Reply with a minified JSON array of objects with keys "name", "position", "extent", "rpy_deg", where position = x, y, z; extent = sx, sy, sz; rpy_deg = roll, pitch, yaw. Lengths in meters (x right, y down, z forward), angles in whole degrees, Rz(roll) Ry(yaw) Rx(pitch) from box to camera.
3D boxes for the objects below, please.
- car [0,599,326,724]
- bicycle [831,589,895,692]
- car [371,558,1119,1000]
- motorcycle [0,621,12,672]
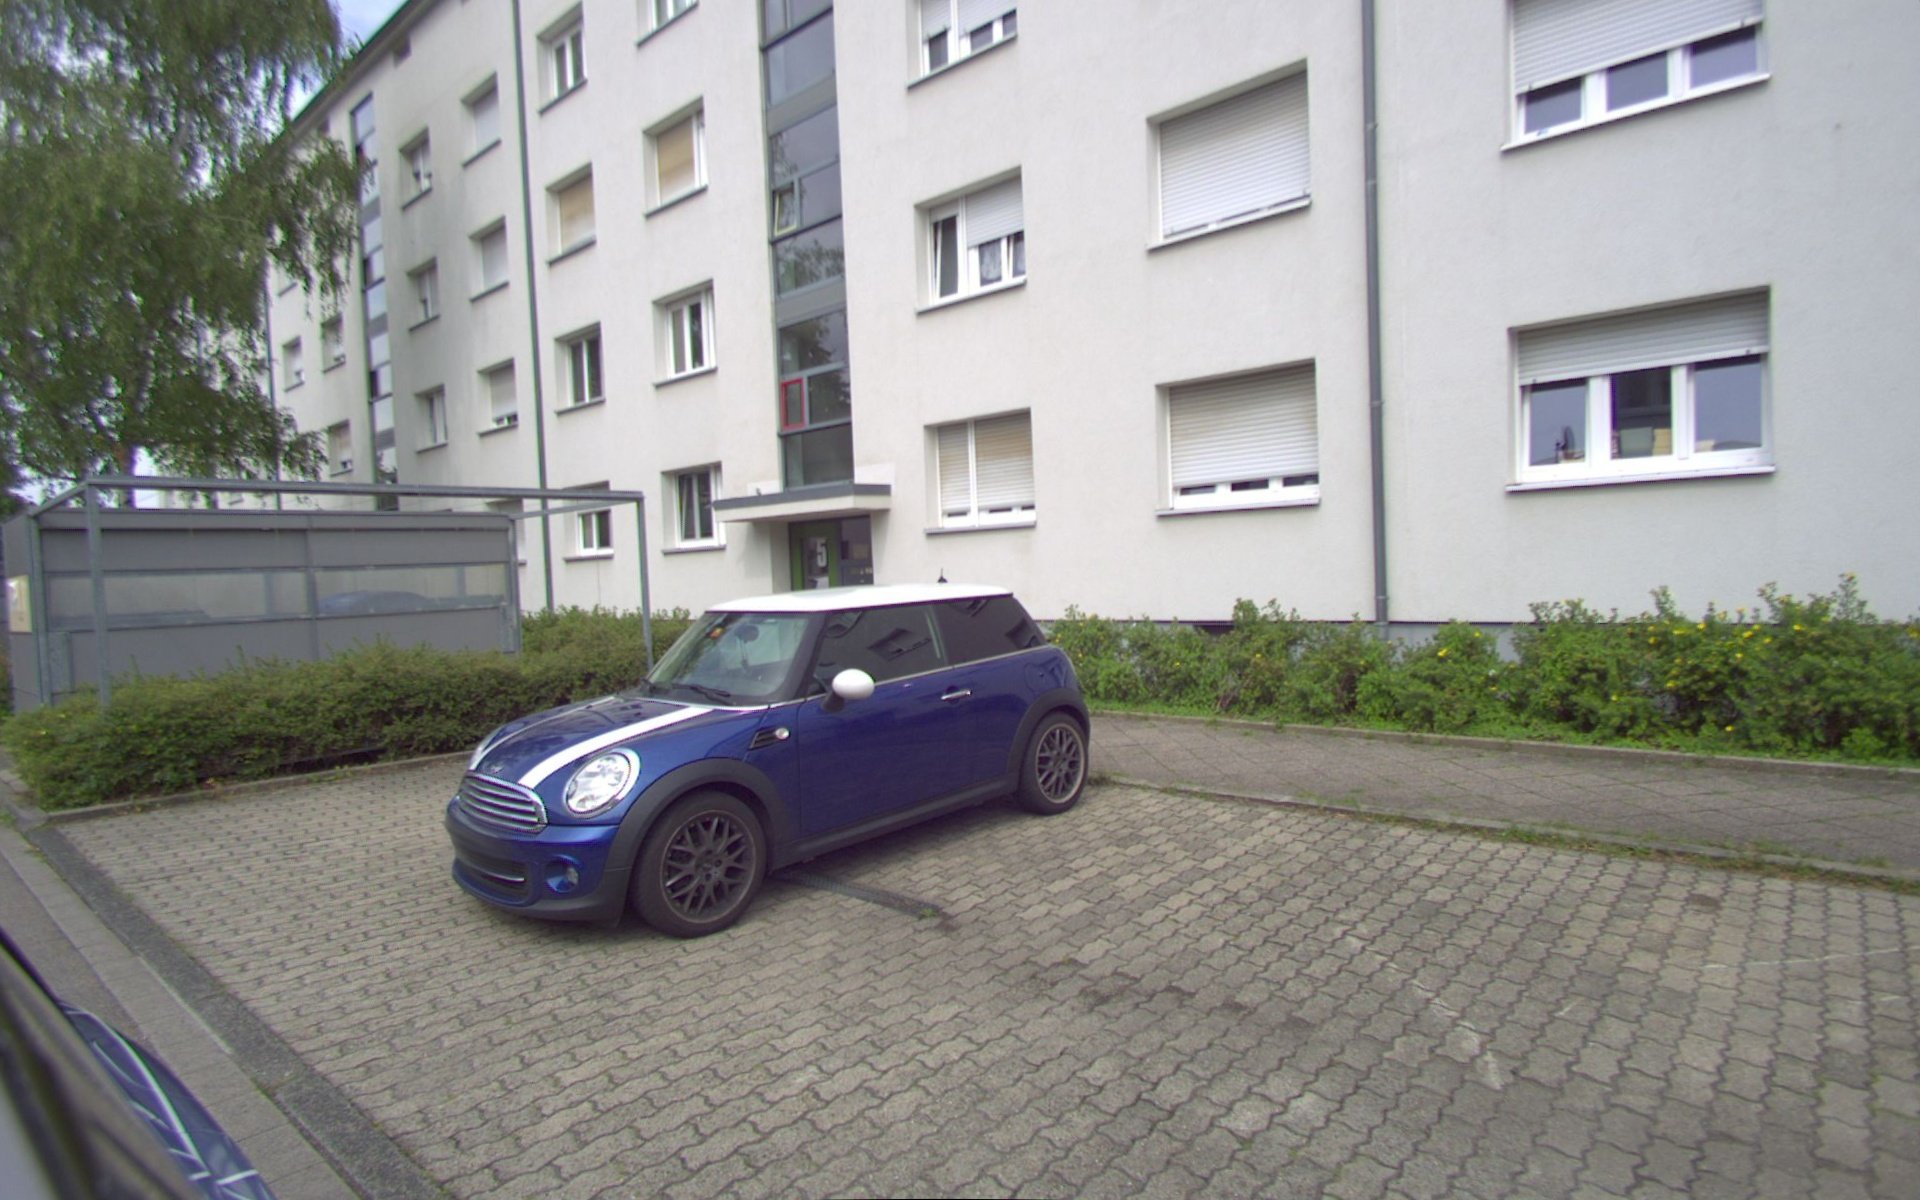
[{"name":"car","position":[-12.266,0.833,15.456],"extent":[1.781,1.516,4.010],"rpy_deg":[-1,1,41]},{"name":"bicycle","position":[-1.177,0.466,12.514],"extent":[0.475,1.160,1.538],"rpy_deg":[-2,1,5]},{"name":"car","position":[-0.898,0.598,5.476],"extent":[1.653,1.472,3.595],"rpy_deg":[-1,3,44]},{"name":"motorcycle","position":[-28.541,1.360,28.684],"extent":[0.713,1.475,2.352],"rpy_deg":[-1,0,41]}]
